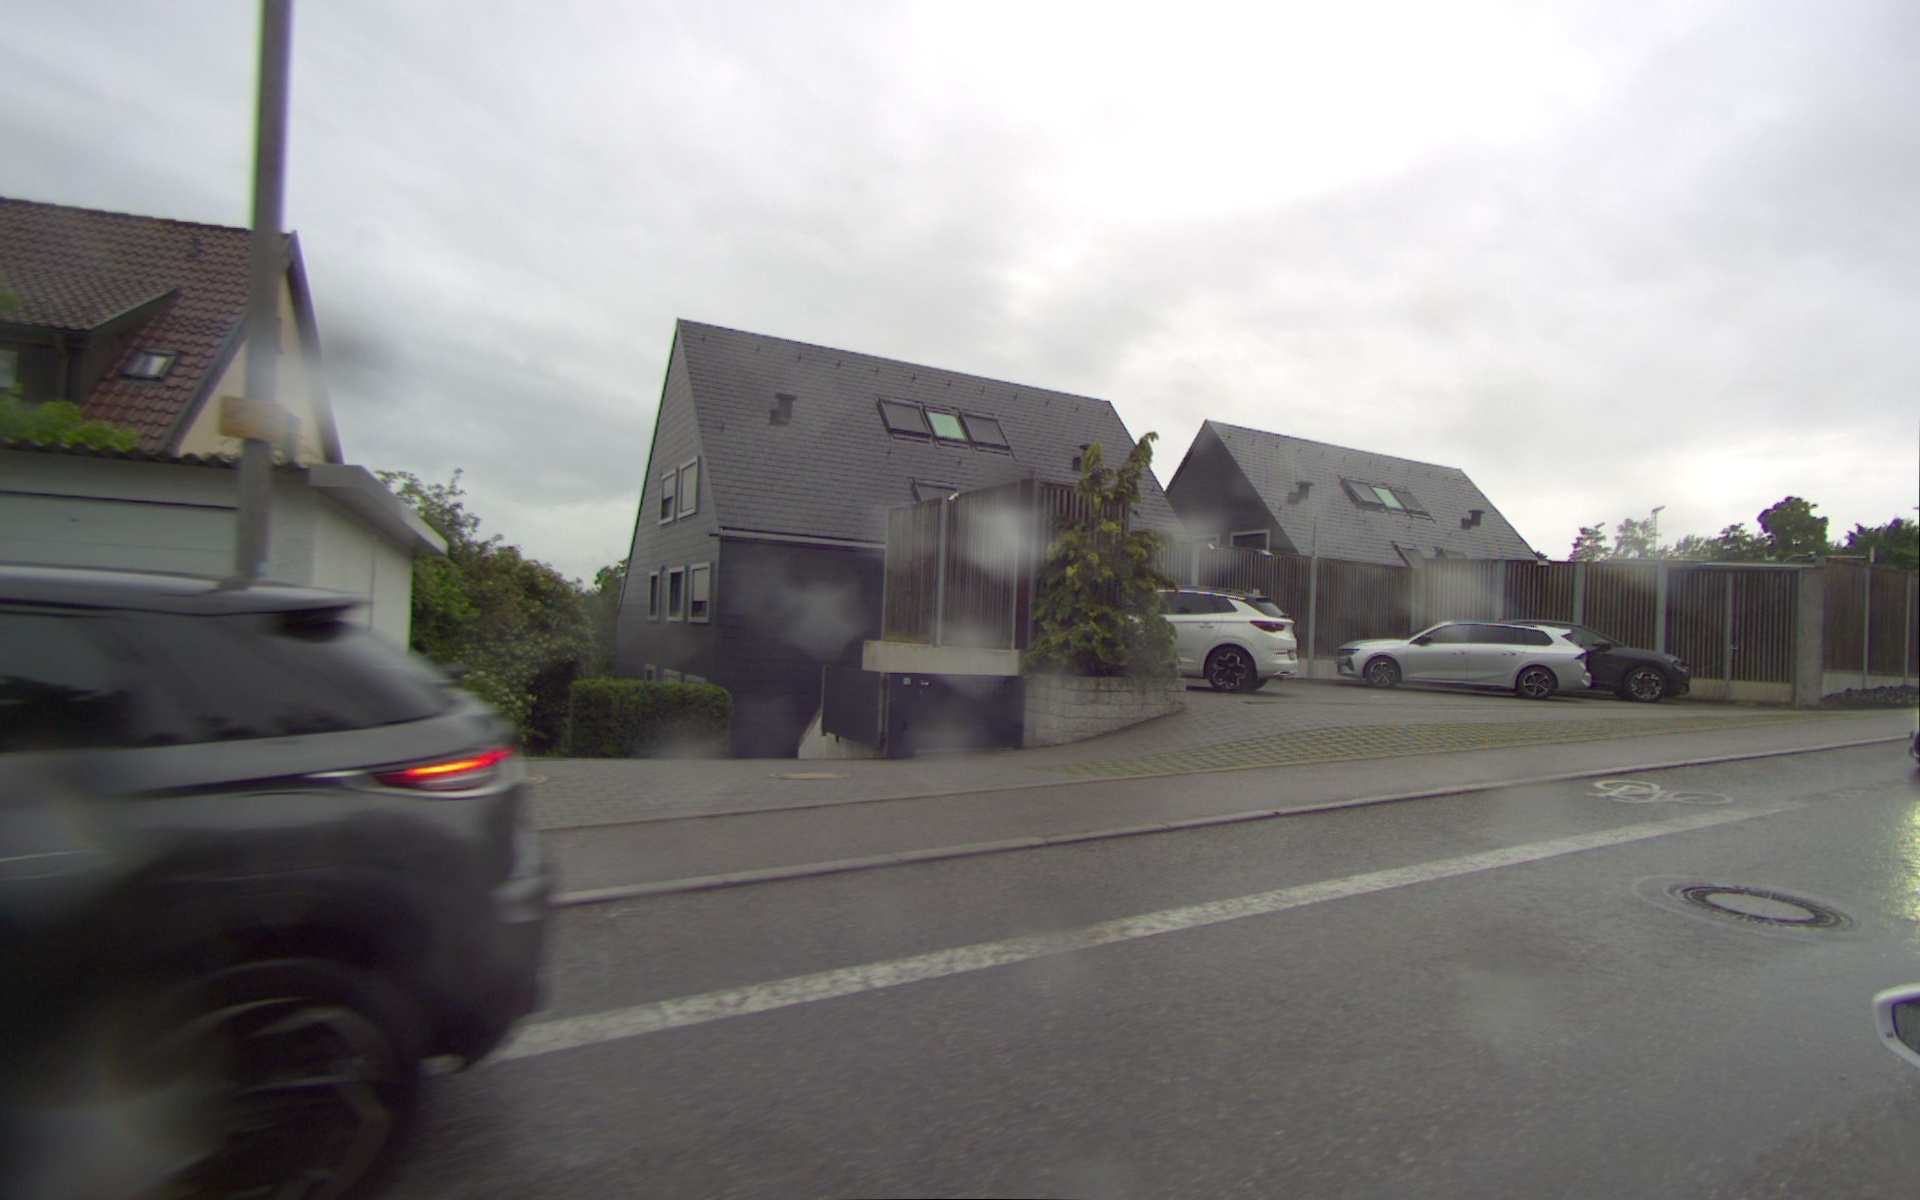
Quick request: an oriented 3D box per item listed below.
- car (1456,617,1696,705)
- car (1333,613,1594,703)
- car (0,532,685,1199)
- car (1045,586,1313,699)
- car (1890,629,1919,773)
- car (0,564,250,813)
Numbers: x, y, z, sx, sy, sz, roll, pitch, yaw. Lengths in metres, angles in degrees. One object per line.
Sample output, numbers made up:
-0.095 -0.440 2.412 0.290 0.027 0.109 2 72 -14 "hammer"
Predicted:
13.143 1.246 21.774 4.212 1.622 1.836 2 0 25 "car"
9.885 1.097 20.126 4.444 1.461 1.761 2 0 20 "car"
-2.726 0.593 2.348 3.657 1.489 1.841 2 0 -31 "car"
3.618 0.633 16.510 3.980 1.595 1.941 2 0 23 "car"
12.099 1.114 10.893 4.219 1.480 1.837 2 0 -31 "car"
-6.785 0.470 5.820 4.226 1.424 1.818 2 0 -41 "car"
